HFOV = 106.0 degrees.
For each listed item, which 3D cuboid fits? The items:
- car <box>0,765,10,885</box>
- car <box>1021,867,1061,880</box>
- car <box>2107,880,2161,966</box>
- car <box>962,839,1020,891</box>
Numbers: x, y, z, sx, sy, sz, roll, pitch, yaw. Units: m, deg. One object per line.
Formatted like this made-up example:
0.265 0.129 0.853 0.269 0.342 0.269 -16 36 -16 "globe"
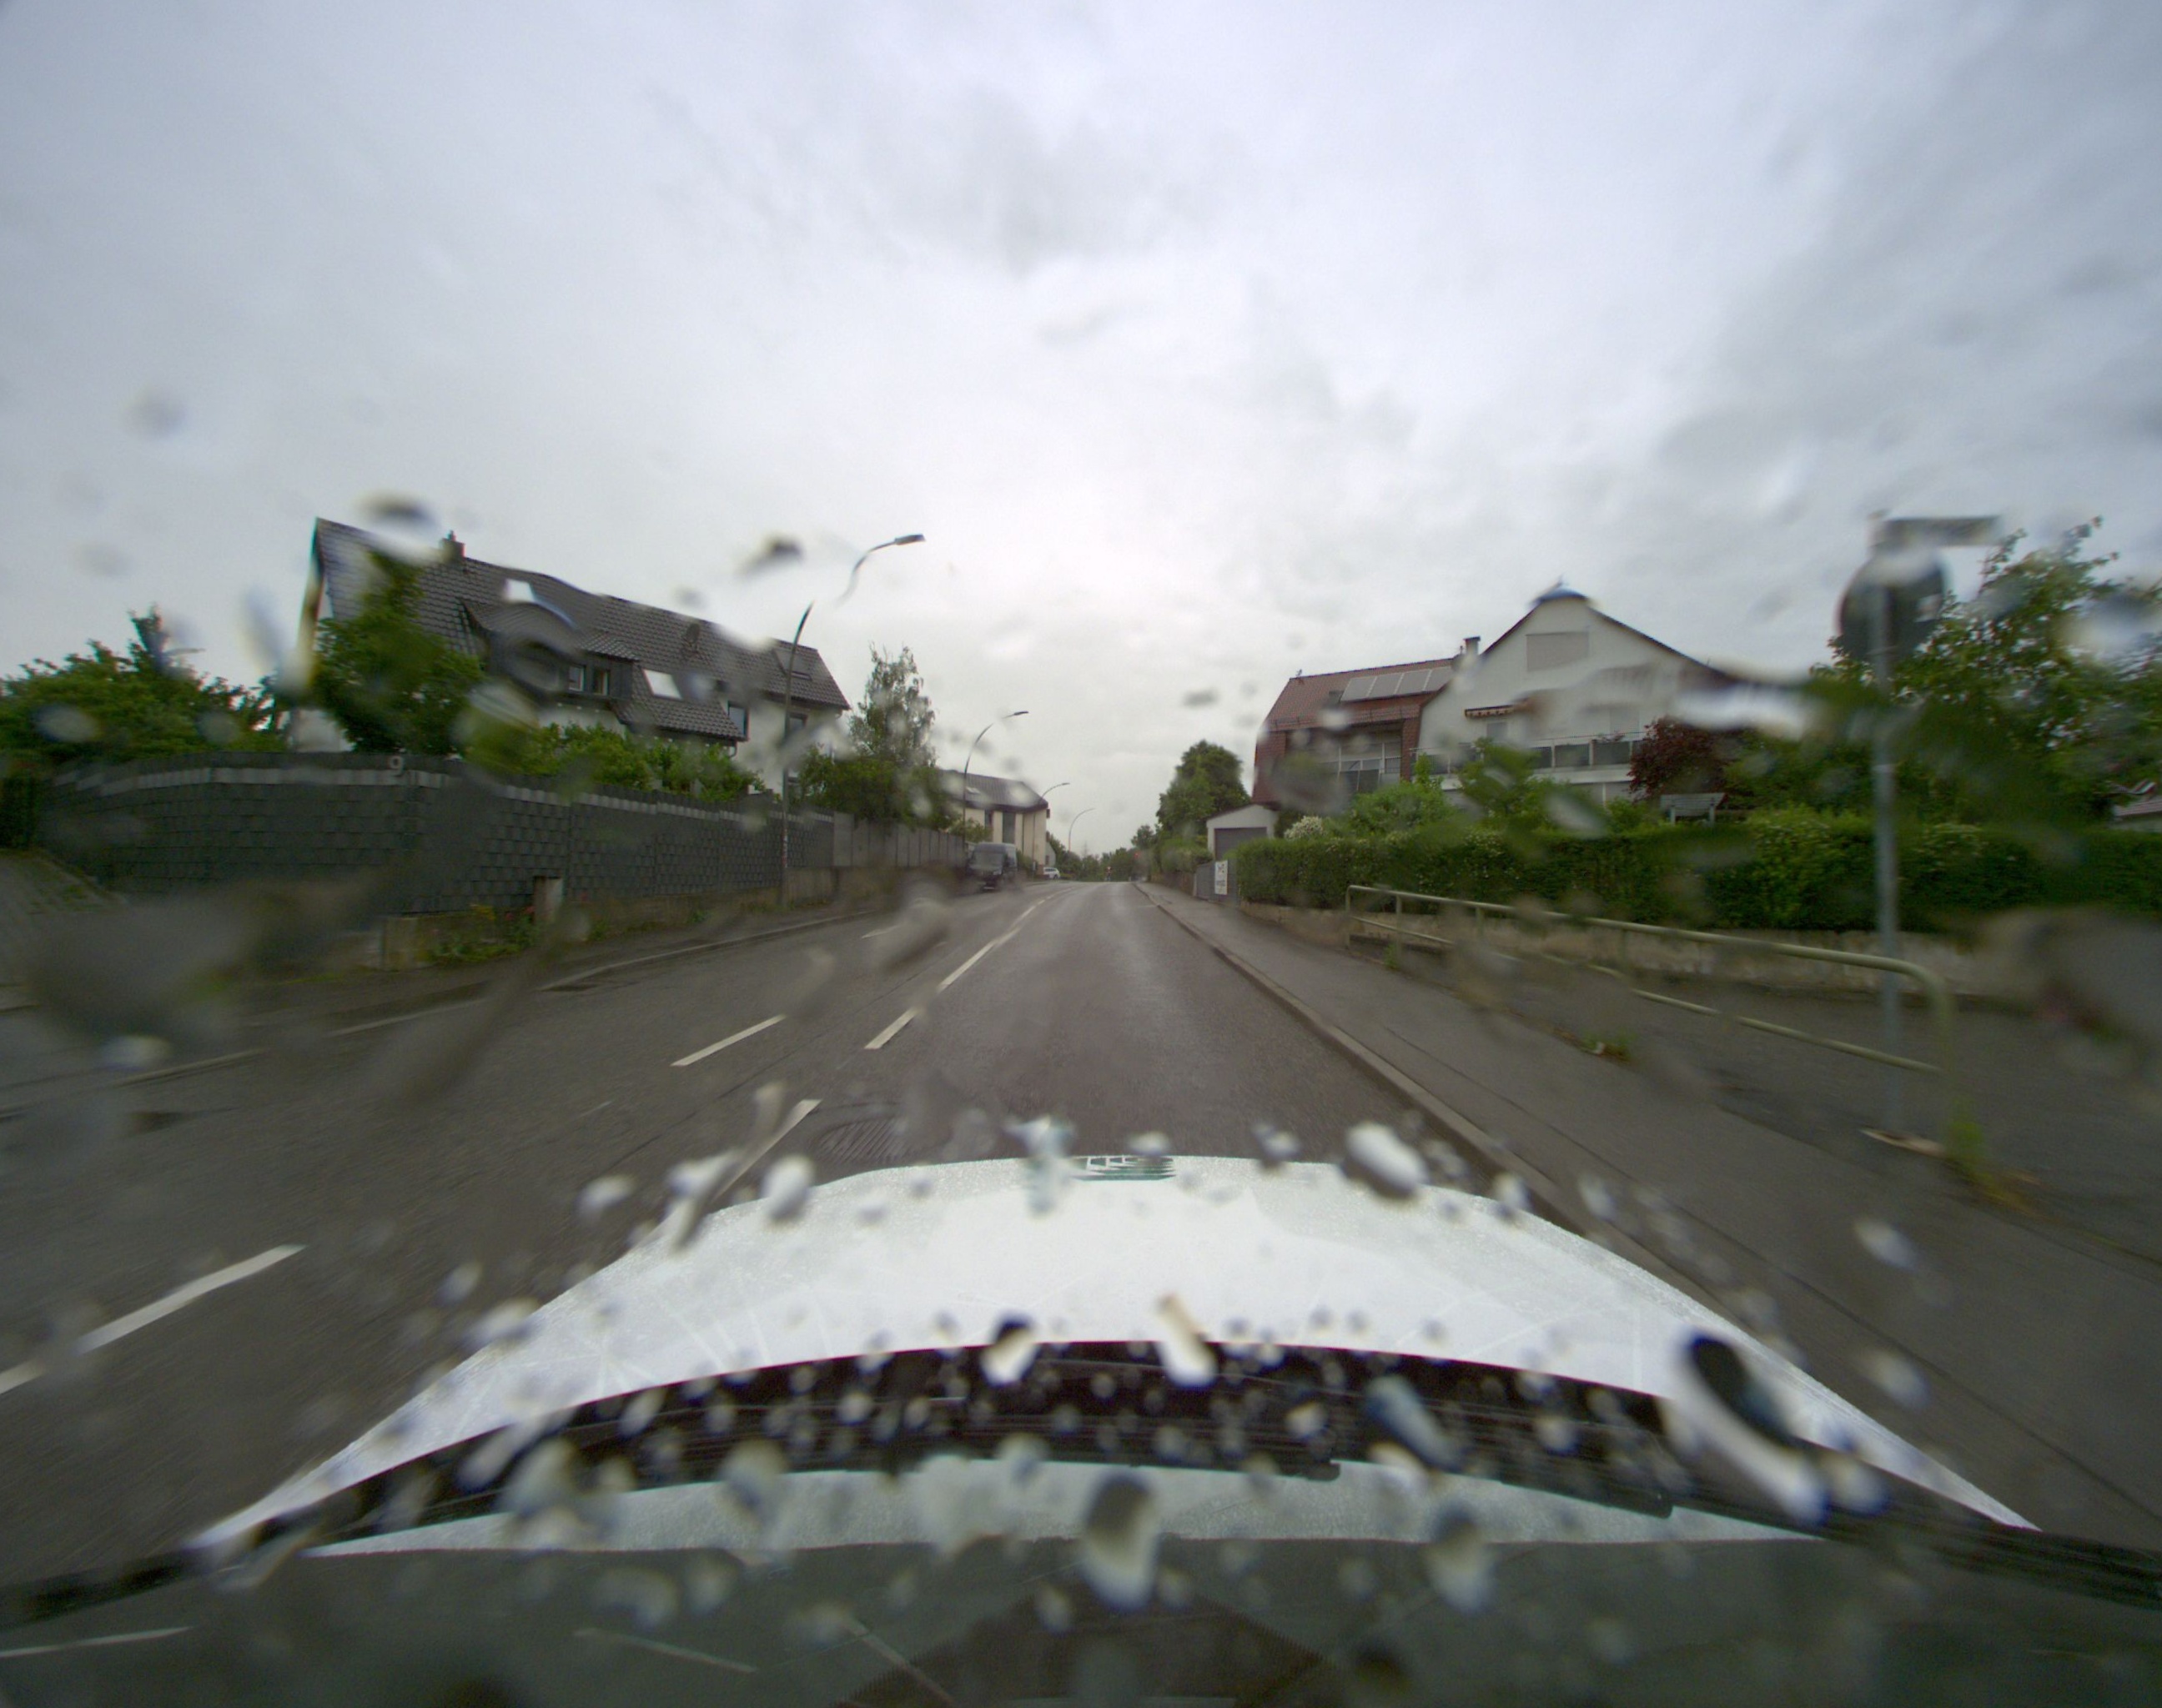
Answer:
-18.797 -0.629 12.867 3.950 1.781 2.012 7 2 34 "car"
-4.745 2.284 97.051 1.883 1.477 4.912 1 -1 38 "car"
20.774 1.293 14.426 2.002 1.537 4.245 0 0 34 "car"
-4.864 0.609 44.907 2.085 2.649 5.924 1 -1 4 "car"
